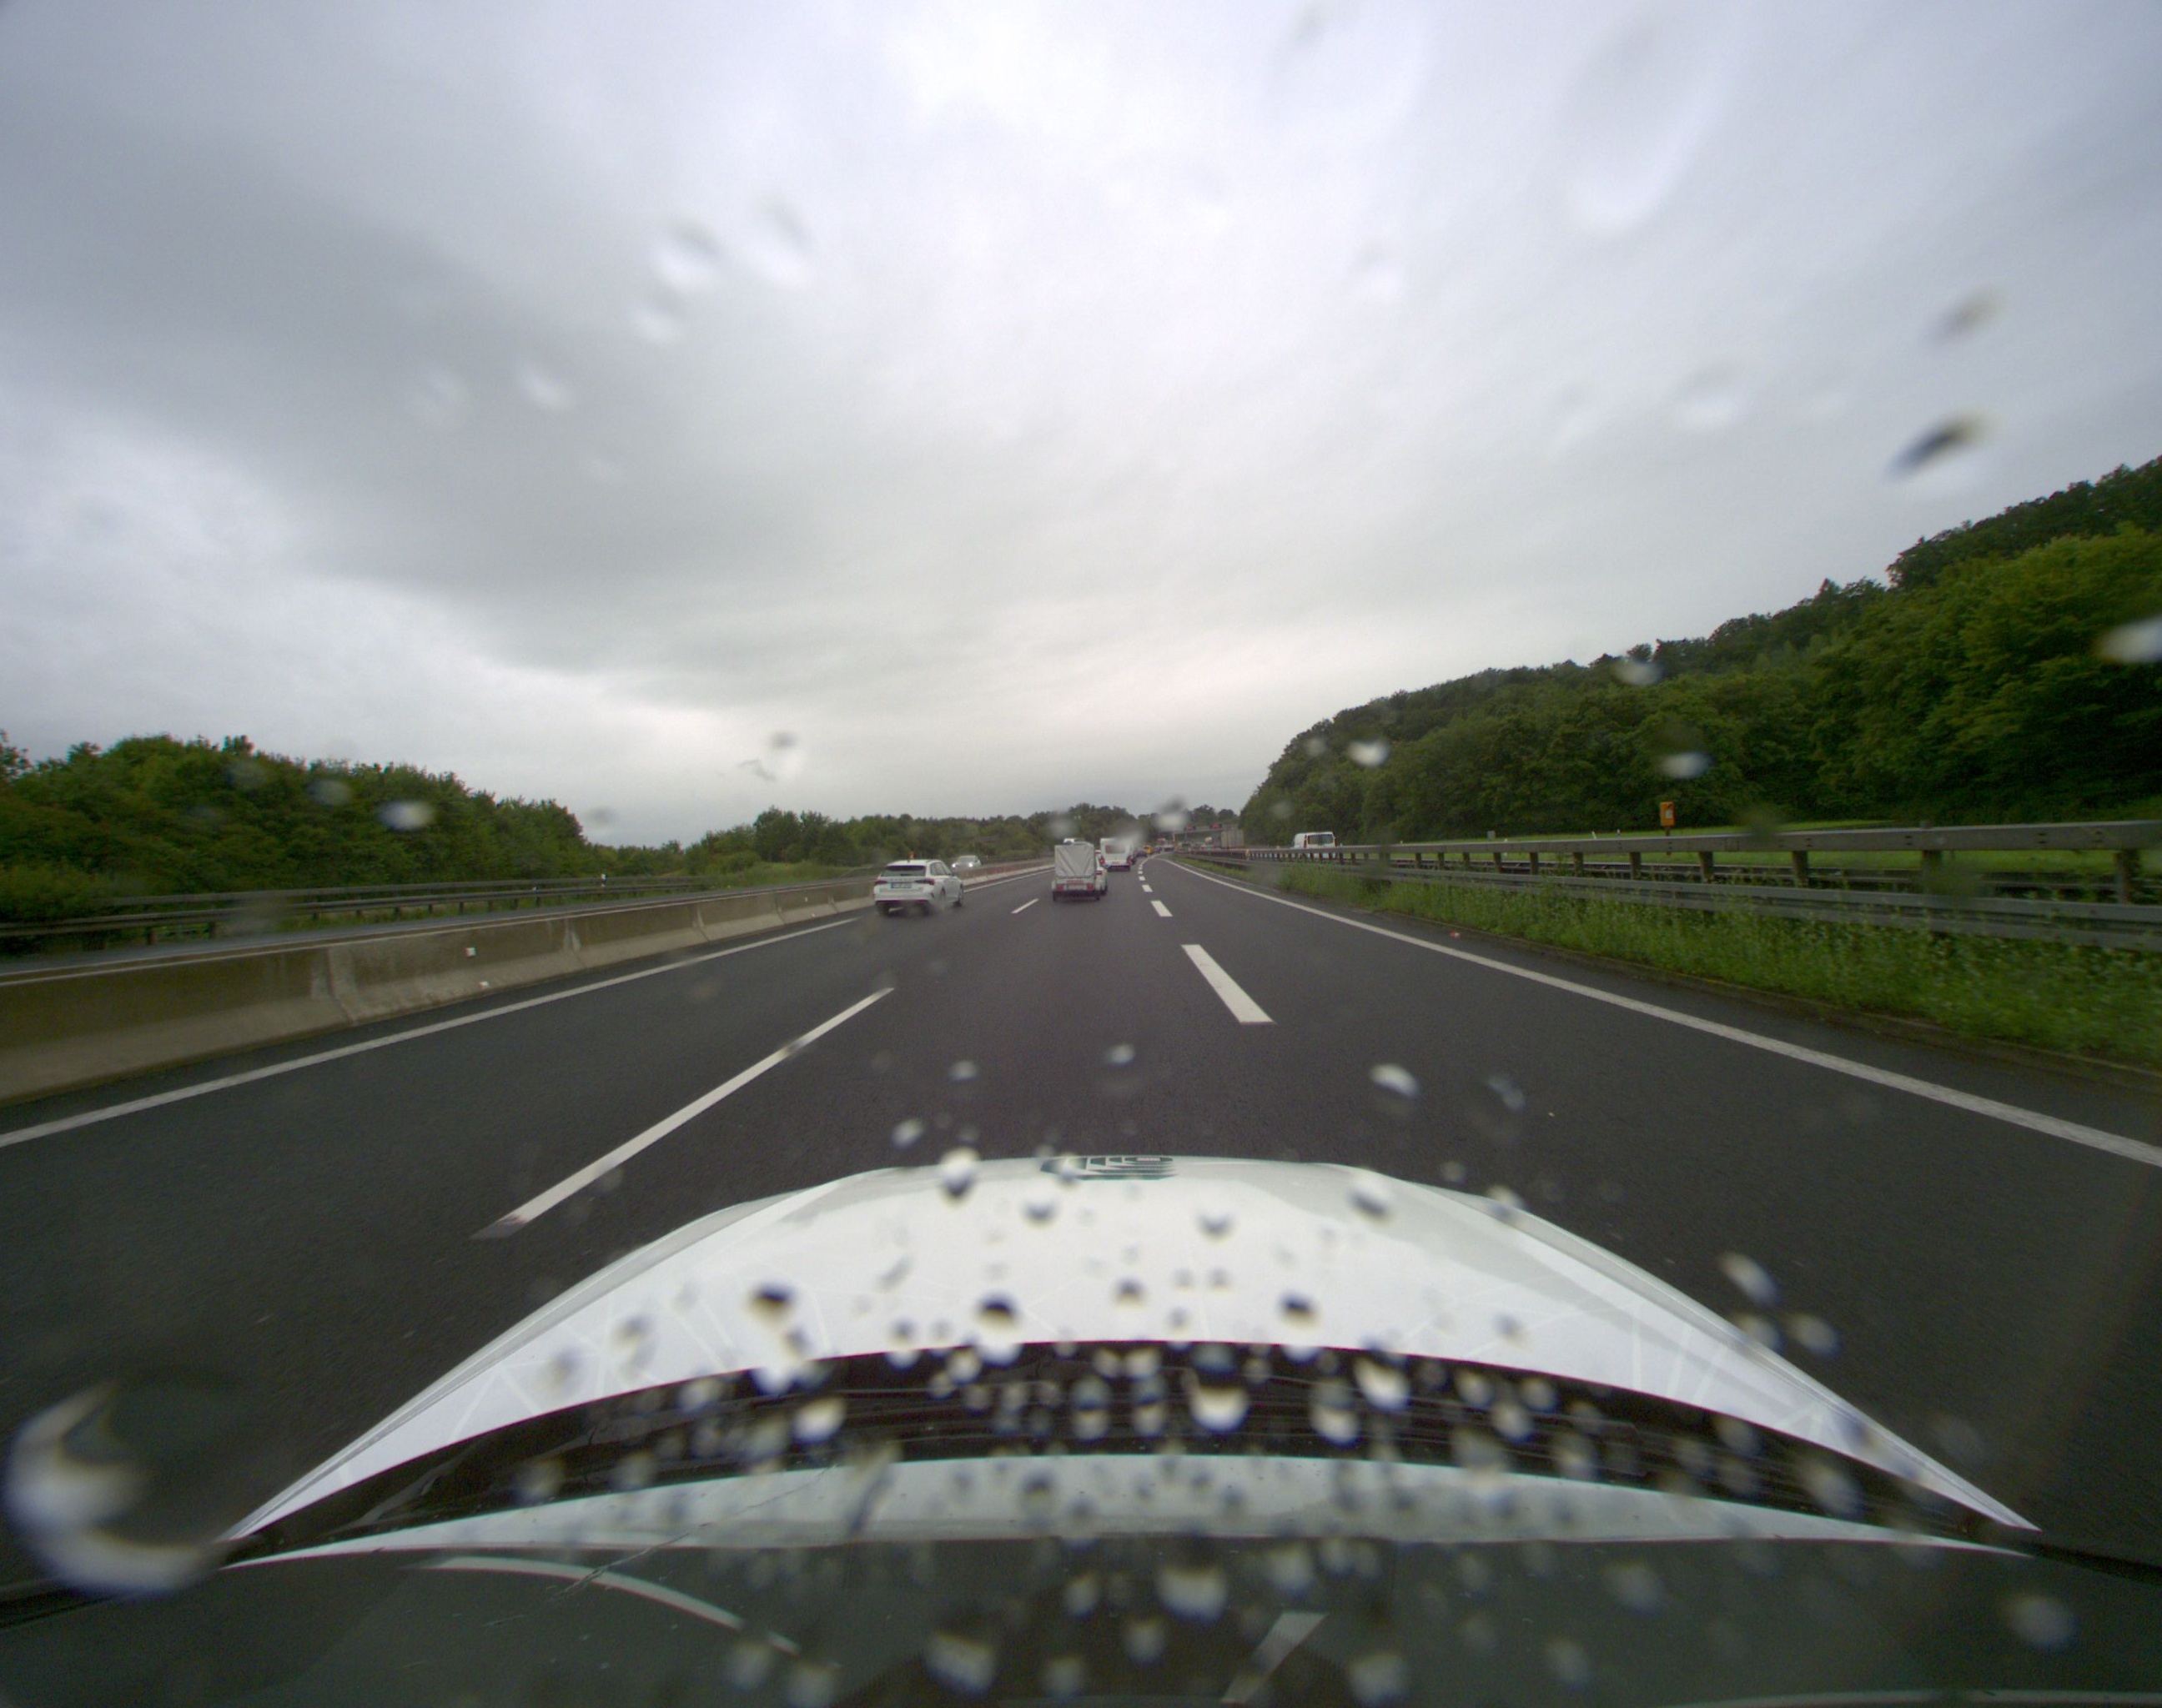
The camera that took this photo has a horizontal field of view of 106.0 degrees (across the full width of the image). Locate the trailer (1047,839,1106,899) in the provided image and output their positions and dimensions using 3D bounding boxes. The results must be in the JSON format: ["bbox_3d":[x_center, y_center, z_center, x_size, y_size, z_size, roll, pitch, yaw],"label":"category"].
[{"bbox_3d":[-0.076,0.486,27.369,1.668,1.812,4.003,-2,-1,3],"label":"trailer"}]

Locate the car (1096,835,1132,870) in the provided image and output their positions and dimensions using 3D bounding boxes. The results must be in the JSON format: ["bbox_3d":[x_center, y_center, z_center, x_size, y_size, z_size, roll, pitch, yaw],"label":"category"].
[{"bbox_3d":[2.699,-0.111,64.546,2.495,2.585,5.707,-2,-1,5],"label":"car"}]

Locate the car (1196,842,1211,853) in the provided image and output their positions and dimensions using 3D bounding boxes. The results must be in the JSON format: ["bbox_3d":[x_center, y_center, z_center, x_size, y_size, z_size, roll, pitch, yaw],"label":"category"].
[{"bbox_3d":[17.687,-0.898,117.282,1.660,1.382,4.129,-4,0,3],"label":"car"}]

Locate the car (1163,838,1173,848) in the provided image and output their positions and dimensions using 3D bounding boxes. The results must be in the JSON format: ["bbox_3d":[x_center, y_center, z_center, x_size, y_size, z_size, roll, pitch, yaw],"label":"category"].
[{"bbox_3d":[24.925,-3.206,233.316,2.500,2.574,5.326,-2,-1,10],"label":"car"}]

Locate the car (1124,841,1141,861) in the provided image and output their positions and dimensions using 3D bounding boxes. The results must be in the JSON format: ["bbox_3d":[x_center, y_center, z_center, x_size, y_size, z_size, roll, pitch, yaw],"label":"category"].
[{"bbox_3d":[5.698,-0.347,89.854,1.668,2.067,4.004,-2,-1,4],"label":"car"}]

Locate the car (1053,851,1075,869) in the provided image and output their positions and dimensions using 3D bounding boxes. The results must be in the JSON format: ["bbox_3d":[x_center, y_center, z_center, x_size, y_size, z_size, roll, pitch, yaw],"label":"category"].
[{"bbox_3d":[-1.434,0.506,70.461,1.669,1.456,4.002,-2,-1,2],"label":"car"}]

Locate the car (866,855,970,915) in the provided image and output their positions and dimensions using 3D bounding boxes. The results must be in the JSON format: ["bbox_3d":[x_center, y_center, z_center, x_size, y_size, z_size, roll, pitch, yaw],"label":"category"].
[{"bbox_3d":[-4.525,0.813,23.322,1.811,1.456,4.780,-2,-1,2],"label":"car"}]

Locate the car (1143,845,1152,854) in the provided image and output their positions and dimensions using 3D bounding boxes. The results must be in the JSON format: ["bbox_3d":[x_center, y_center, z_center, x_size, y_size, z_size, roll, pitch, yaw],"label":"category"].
[{"bbox_3d":[14.091,-1.009,173.003,1.667,1.812,4.008,-2,-1,7],"label":"car"}]

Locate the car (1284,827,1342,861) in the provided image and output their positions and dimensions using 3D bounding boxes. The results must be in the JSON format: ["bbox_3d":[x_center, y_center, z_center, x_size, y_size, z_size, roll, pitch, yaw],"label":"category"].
[{"bbox_3d":[12.782,-0.497,45.167,1.902,1.693,4.720,-2,-1,1],"label":"car"}]

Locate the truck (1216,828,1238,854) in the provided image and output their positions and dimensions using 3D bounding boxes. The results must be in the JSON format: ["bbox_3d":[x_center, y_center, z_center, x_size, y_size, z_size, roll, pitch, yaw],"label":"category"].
[{"bbox_3d":[23.037,-2.044,128.619,2.605,3.884,6.397,-2,-1,3],"label":"truck"}]

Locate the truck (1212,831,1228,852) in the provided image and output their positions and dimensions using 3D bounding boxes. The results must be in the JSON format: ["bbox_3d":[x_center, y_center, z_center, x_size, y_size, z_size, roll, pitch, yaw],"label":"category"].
[{"bbox_3d":[32.719,-2.793,192.000,3.198,4.666,13.059,-2,-1,7],"label":"truck"}]

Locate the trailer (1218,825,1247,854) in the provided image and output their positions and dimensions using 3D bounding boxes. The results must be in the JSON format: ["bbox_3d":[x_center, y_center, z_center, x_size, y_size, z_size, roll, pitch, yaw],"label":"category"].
[{"bbox_3d":[22.639,-2.084,122.565,2.593,3.894,12.501,-2,-1,3],"label":"trailer"}]

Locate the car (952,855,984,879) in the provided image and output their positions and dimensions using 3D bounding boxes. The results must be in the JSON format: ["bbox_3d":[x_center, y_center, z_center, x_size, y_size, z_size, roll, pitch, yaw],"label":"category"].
[{"bbox_3d":[-9.455,1.062,68.550,1.730,1.919,4.321,-2,-1,4],"label":"car"}]

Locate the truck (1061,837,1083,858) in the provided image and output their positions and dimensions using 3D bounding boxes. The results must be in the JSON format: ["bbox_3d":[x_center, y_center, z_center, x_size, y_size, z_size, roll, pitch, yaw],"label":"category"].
[{"bbox_3d":[-1.776,-1.298,172.622,2.772,4.092,12.326,-2,-1,8],"label":"truck"}]

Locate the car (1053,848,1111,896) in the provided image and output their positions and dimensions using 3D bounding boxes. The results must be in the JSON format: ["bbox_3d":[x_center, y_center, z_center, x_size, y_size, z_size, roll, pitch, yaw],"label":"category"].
[{"bbox_3d":[0.122,0.637,30.515,1.810,1.616,4.782,-2,-1,4],"label":"car"}]

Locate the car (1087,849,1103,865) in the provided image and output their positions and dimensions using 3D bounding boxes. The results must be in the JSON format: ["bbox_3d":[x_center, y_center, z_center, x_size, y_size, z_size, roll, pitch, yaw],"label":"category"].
[{"bbox_3d":[1.793,0.414,103.936,1.986,1.919,4.001,-2,-1,1],"label":"car"}]

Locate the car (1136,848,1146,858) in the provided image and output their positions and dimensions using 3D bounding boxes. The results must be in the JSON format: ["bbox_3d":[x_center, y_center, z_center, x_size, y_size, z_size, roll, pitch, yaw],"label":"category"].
[{"bbox_3d":[10.557,-0.157,143.895,1.668,1.812,4.005,-2,-1,4],"label":"car"}]

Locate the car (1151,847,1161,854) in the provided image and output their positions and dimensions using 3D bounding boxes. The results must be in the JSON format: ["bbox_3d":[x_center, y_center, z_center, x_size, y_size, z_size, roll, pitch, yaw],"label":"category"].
[{"bbox_3d":[18.096,-0.770,196.268,2.025,1.683,4.010,-2,-1,9],"label":"car"}]
